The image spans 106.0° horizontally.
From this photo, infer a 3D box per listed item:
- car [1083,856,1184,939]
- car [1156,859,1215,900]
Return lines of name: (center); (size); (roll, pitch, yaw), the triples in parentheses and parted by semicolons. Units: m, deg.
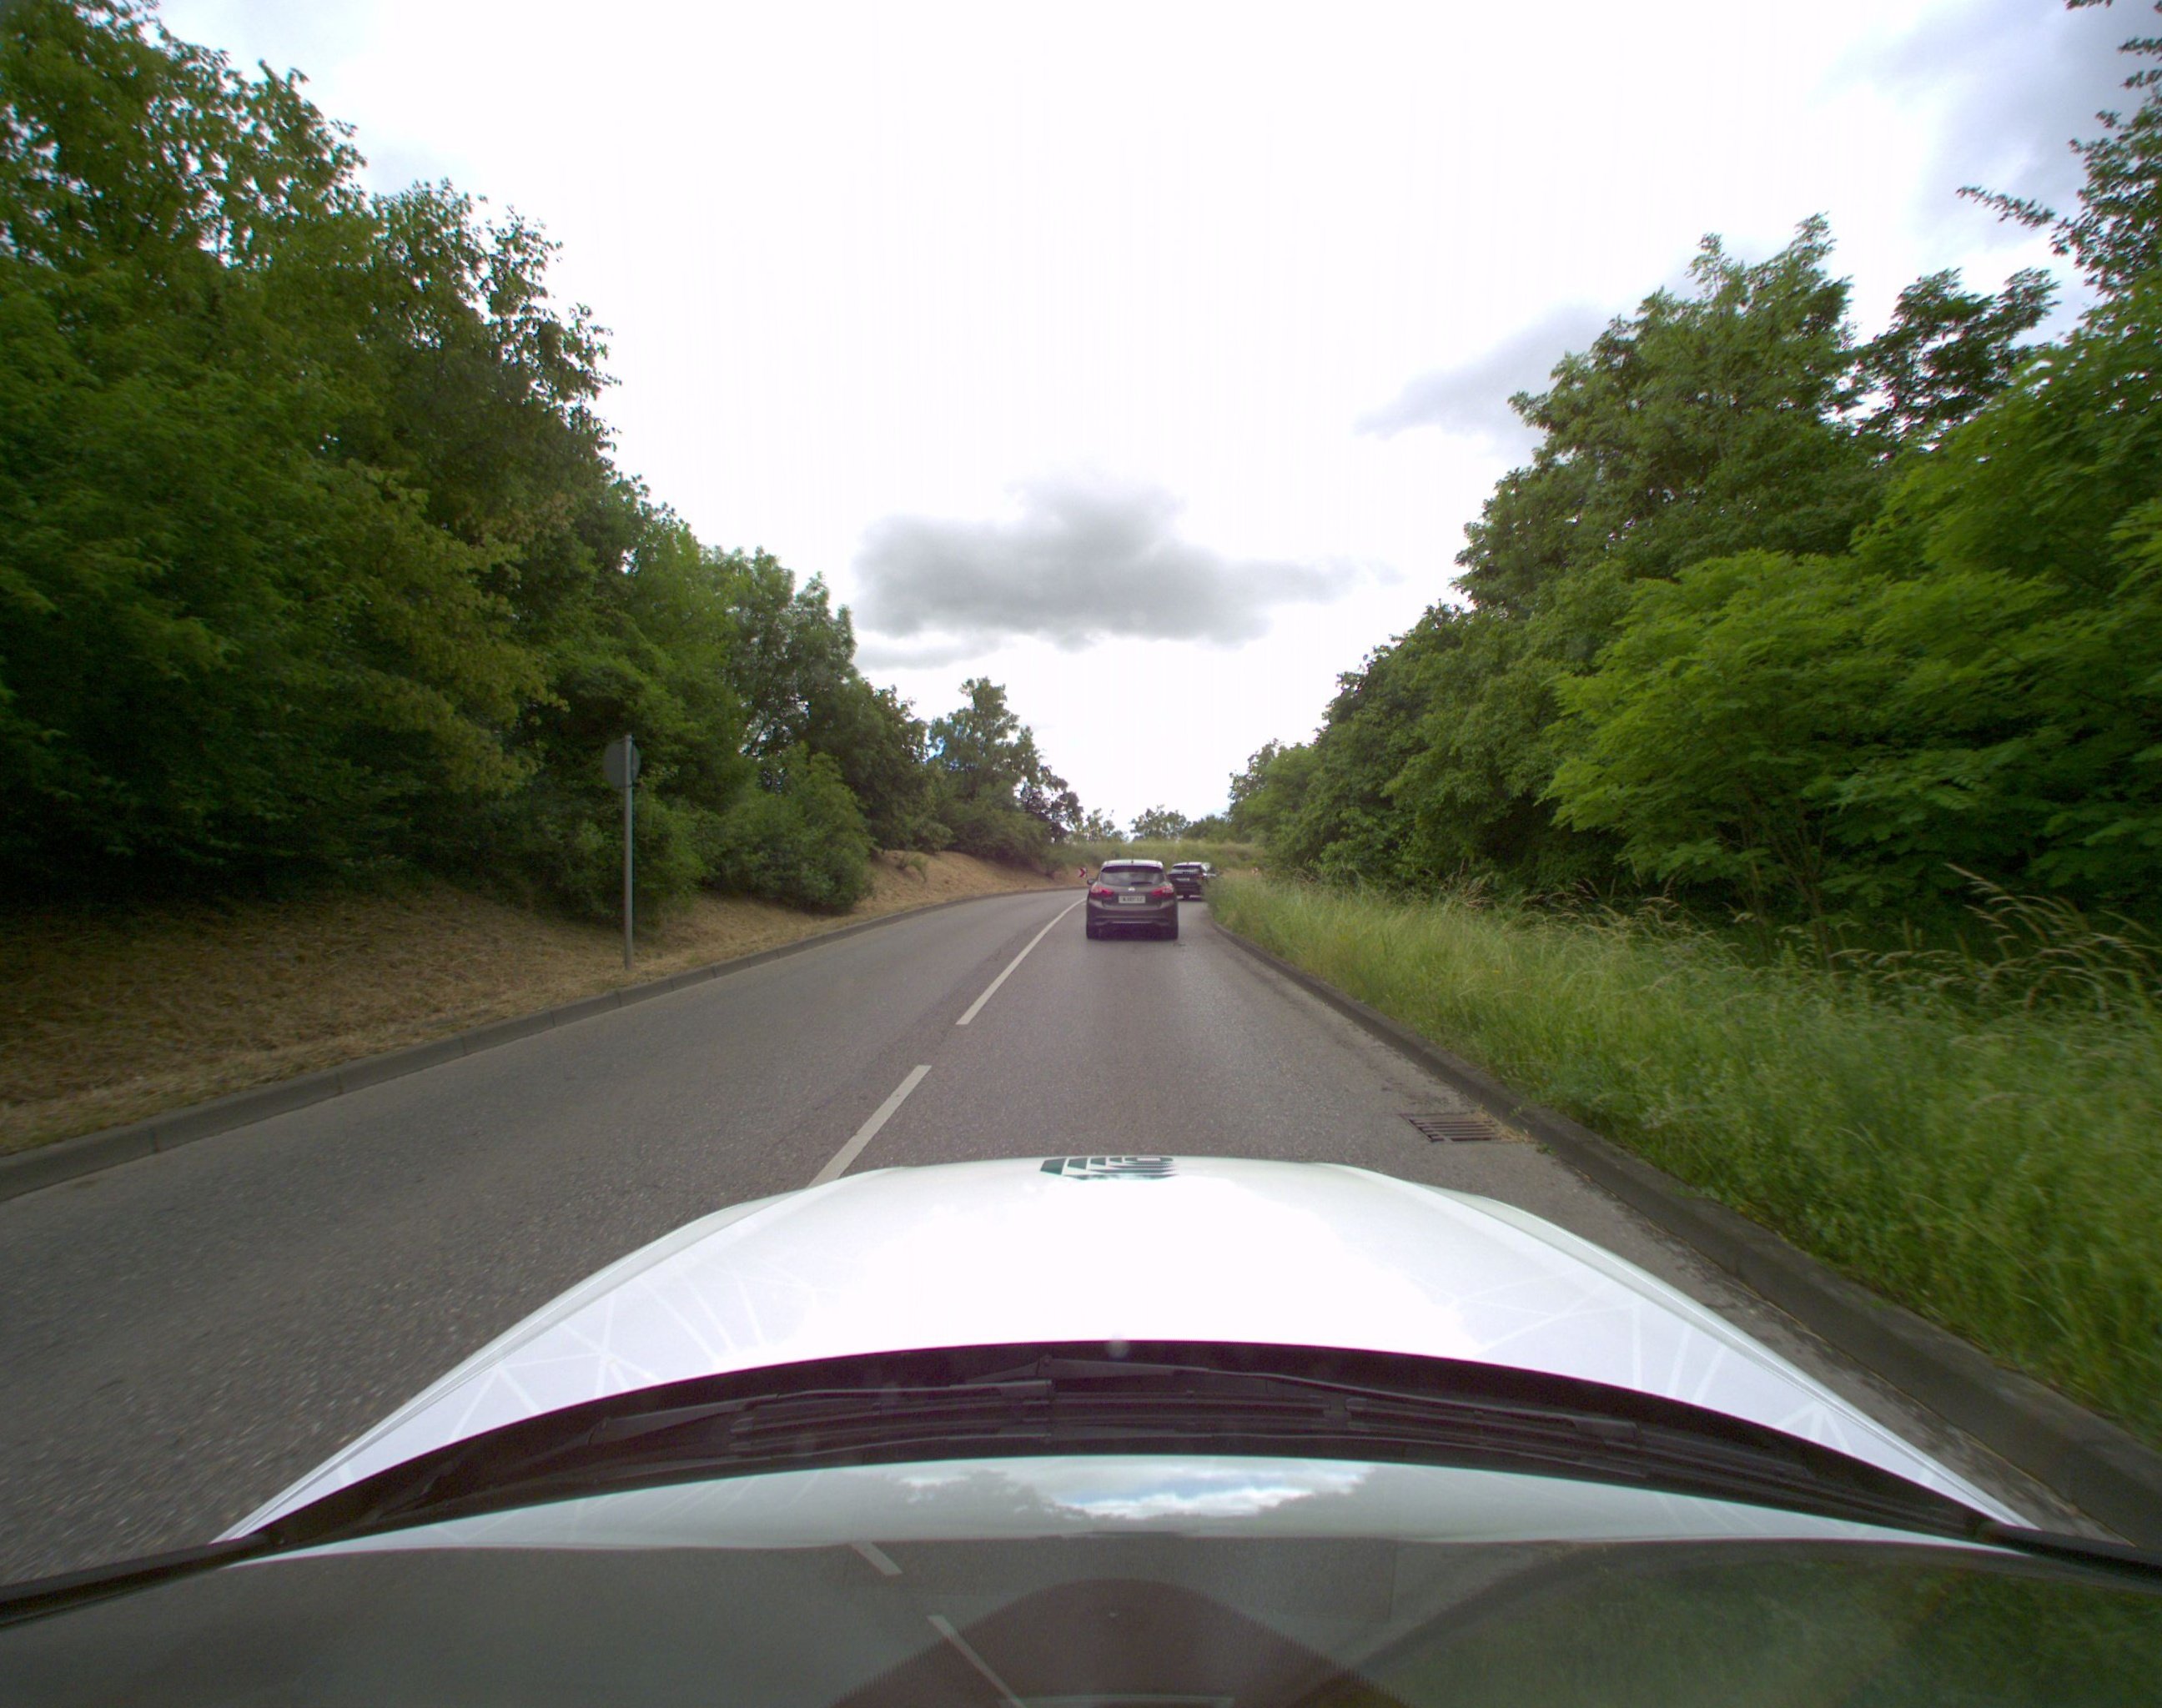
car: (0.997, 0.813, 16.958); (1.838, 1.493, 4.001); (-1, 0, 1)
car: (4.187, 0.947, 32.177); (1.886, 1.466, 4.015); (0, 0, 13)
